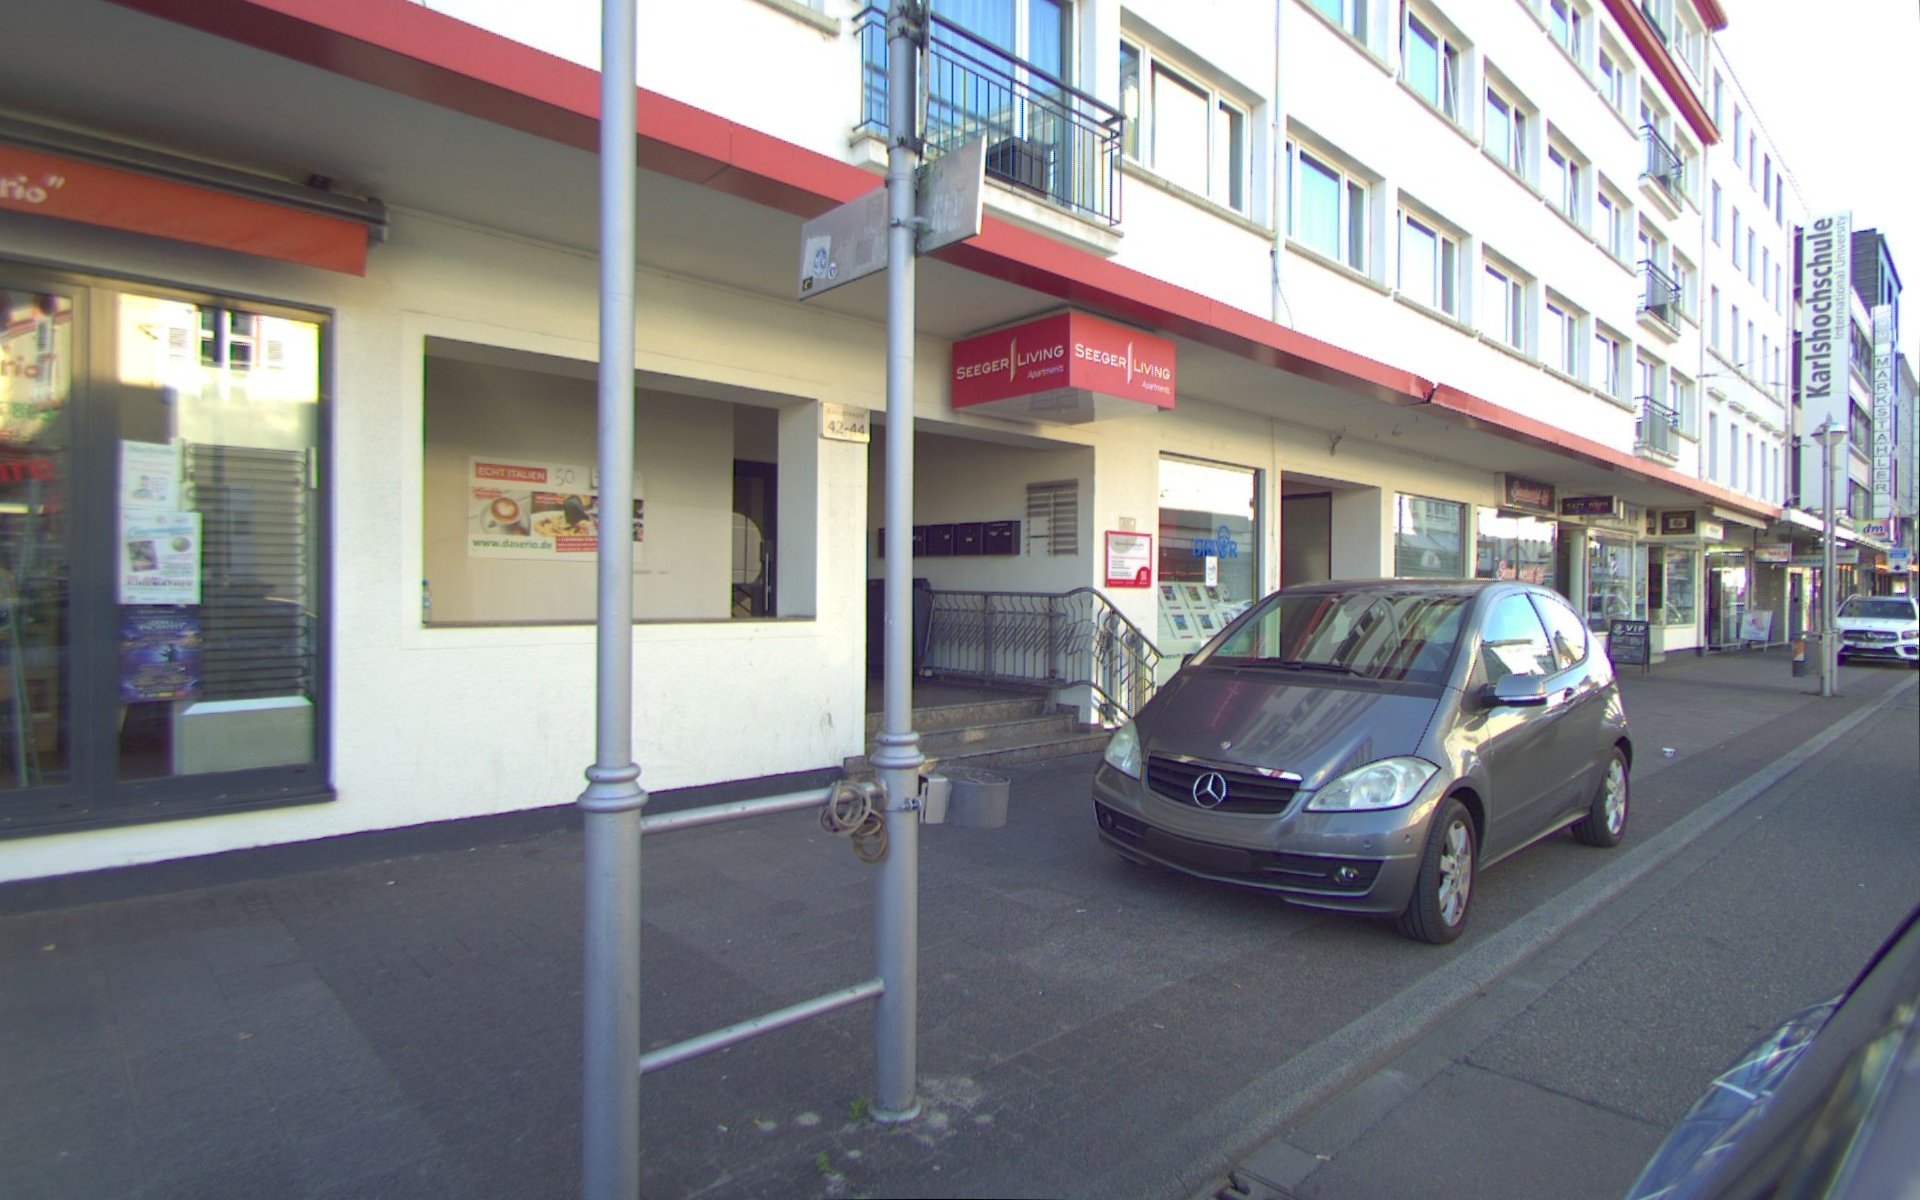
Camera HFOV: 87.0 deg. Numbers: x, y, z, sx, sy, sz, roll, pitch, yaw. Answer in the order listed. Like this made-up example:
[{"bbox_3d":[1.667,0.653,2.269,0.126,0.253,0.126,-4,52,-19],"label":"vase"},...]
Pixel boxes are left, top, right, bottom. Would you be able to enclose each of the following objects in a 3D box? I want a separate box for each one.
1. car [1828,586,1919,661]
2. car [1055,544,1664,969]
[{"bbox_3d":[22.379,0.522,24.343,1.994,1.650,3.935,1,1,45],"label":"car"},{"bbox_3d":[2.467,0.579,5.701,3.932,1.565,1.681,0,0,-43],"label":"car"}]
